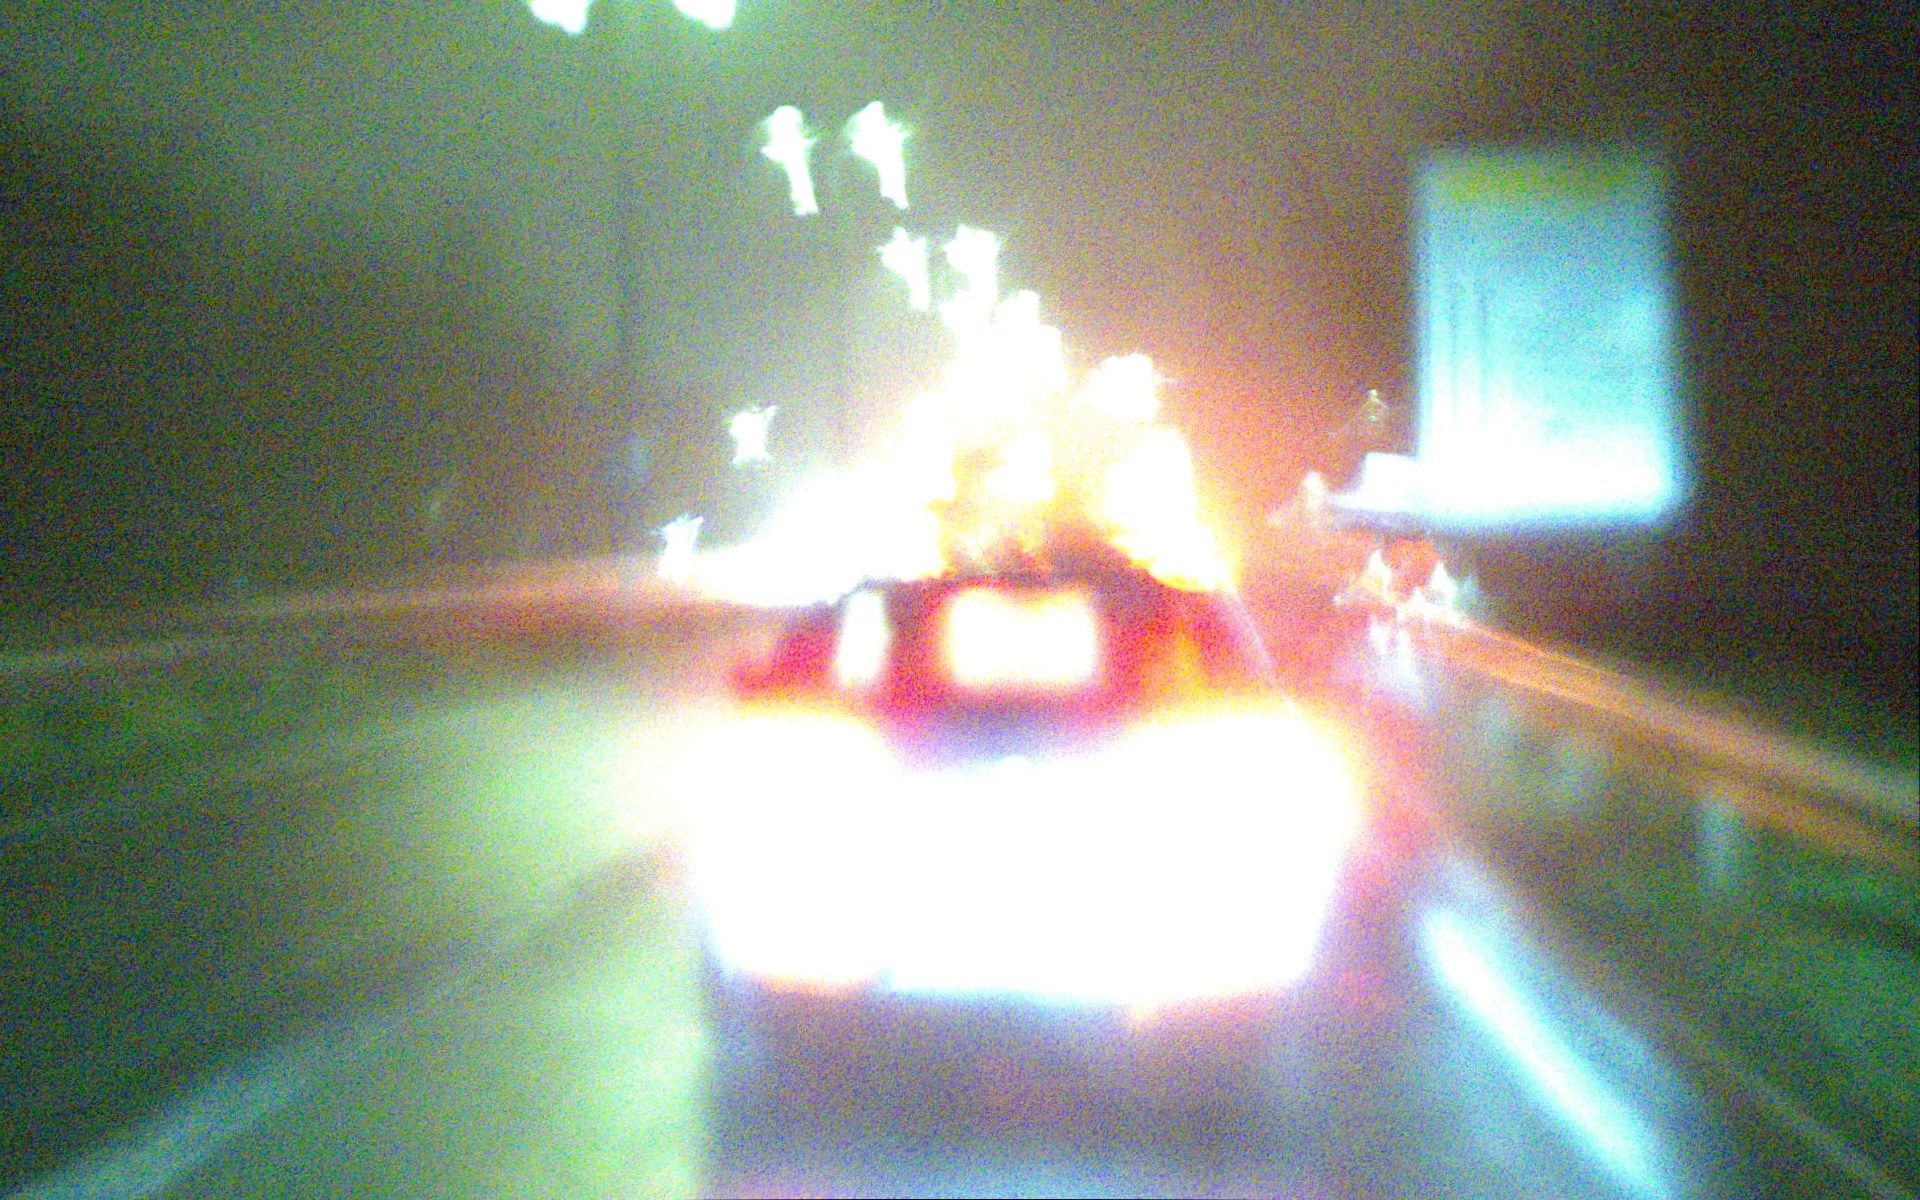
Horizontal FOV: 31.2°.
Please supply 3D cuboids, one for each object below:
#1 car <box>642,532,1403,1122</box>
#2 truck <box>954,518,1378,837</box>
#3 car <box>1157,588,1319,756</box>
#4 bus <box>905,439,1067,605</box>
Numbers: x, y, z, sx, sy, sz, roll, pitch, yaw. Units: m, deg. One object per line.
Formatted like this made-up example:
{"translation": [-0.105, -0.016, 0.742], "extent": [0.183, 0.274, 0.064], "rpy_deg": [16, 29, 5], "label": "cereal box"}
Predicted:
{"translation": [0.320, 0.556, 10.641], "extent": [1.944, 1.486, 3.715], "rpy_deg": [0, 1, 5], "label": "car"}
{"translation": [2.100, 0.645, 31.674], "extent": [3.071, 2.520, 7.163], "rpy_deg": [2, 0, 10], "label": "truck"}
{"translation": [3.500, 0.860, 42.686], "extent": [1.836, 1.942, 3.999], "rpy_deg": [2, 0, 6], "label": "car"}
{"translation": [0.645, -1.587, 70.547], "extent": [2.744, 3.112, 9.200], "rpy_deg": [2, 1, 4], "label": "bus"}
